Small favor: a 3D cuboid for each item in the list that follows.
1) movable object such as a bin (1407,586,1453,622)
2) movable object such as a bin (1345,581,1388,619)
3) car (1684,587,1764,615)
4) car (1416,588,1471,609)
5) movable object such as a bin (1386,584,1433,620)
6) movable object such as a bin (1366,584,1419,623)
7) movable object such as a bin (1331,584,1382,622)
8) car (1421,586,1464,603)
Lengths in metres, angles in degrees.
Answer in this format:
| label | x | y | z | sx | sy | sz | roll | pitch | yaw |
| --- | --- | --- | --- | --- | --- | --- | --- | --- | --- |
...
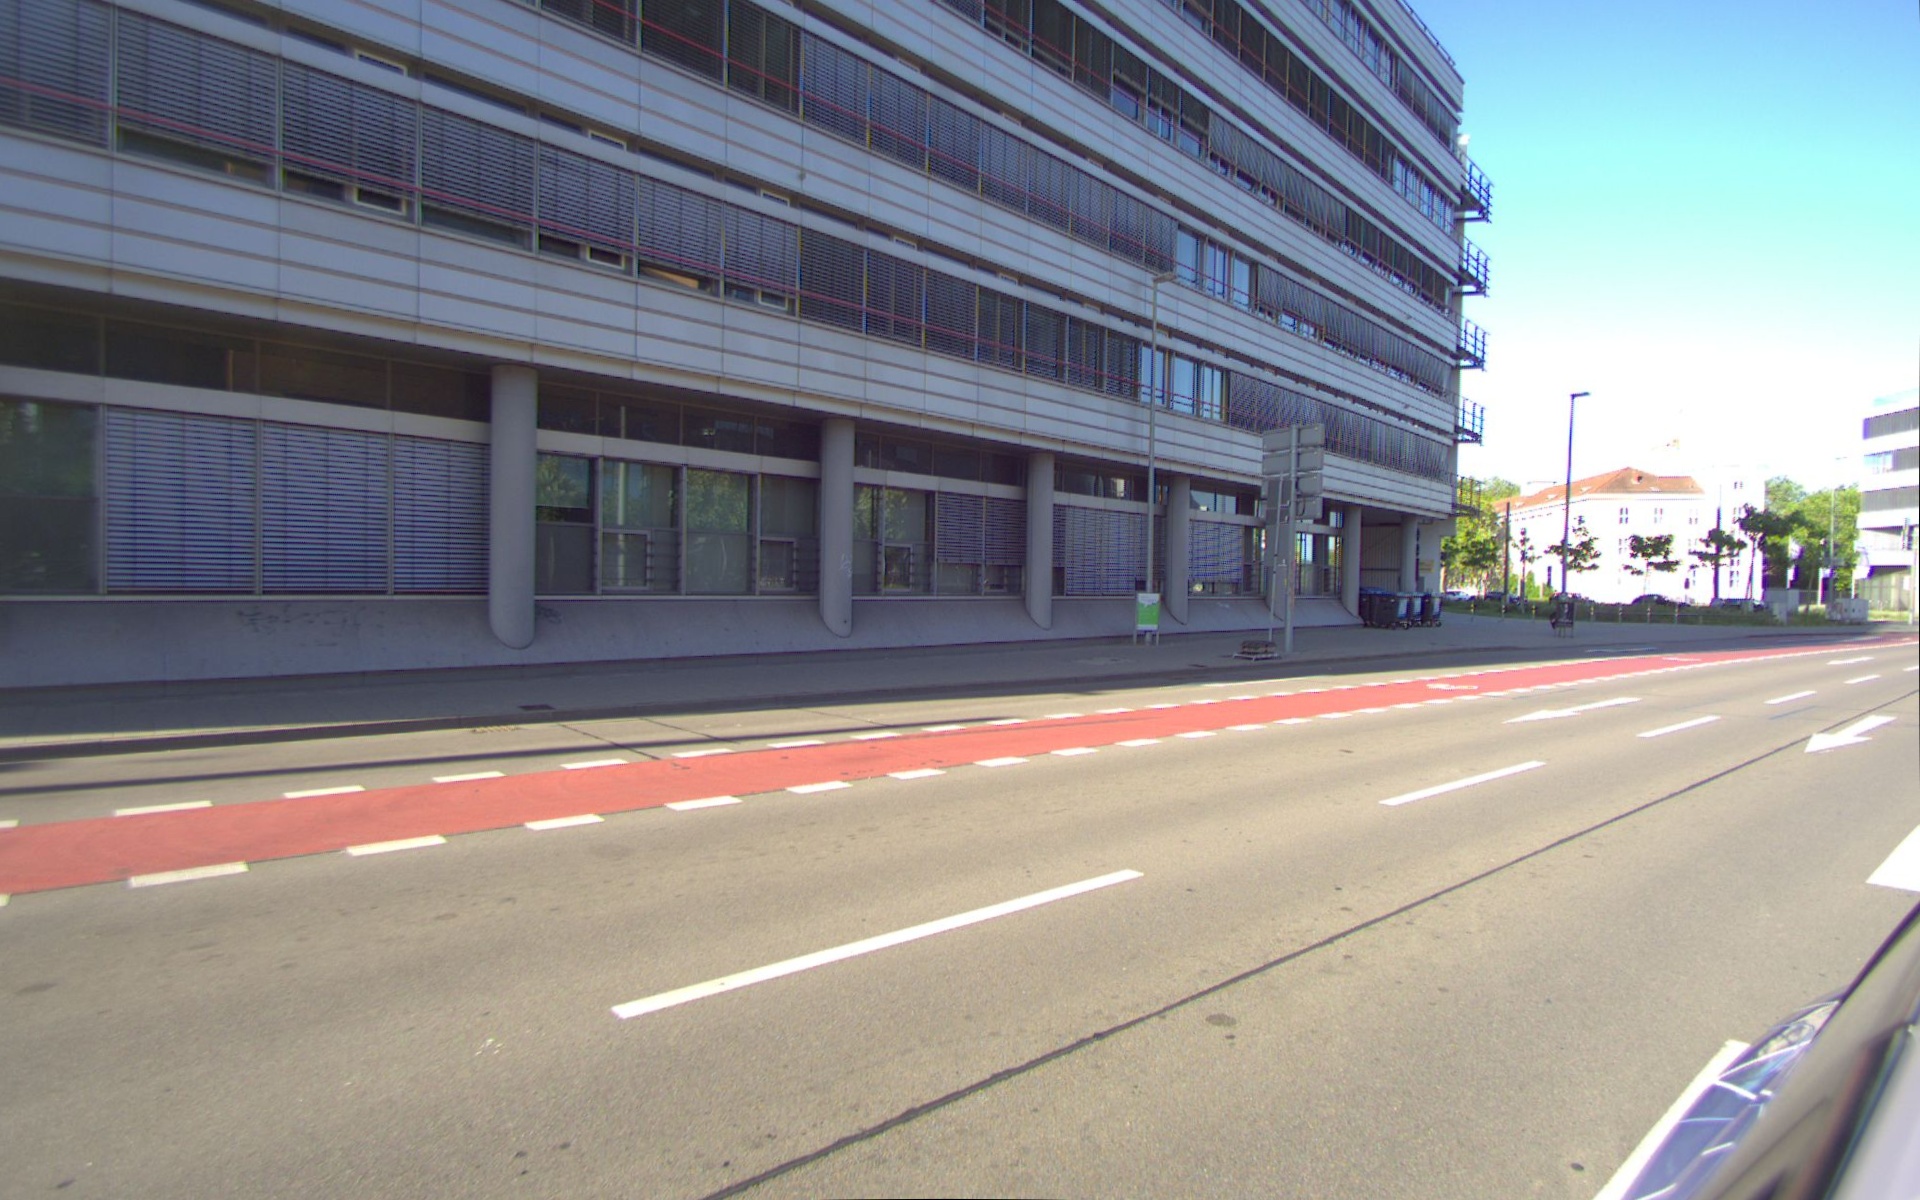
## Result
| label | x | y | z | sx | sy | sz | roll | pitch | yaw |
| --- | --- | --- | --- | --- | --- | --- | --- | --- | --- |
| movable object such as a bin | 18.233 | 0.146 | 39.295 | 1.305 | 1.317 | 1.173 | 0 | 2 | -40 |
| movable object such as a bin | 15.506 | -0.004 | 38.615 | 1.088 | 1.391 | 1.109 | 0 | 1 | -40 |
| car | 45.851 | 0.049 | 60.834 | 1.706 | 1.551 | 3.806 | 1 | 1 | -4 |
| car | 39.963 | -0.147 | 83.764 | 1.705 | 1.551 | 3.807 | 0 | 2 | -28 |
| movable object such as a bin | 17.132 | 0.075 | 38.553 | 1.305 | 1.317 | 1.173 | 0 | 2 | -40 |
| movable object such as a bin | 15.313 | 0.115 | 35.855 | 1.153 | 1.317 | 1.327 | 0 | 2 | -40 |
| movable object such as a bin | 14.459 | 0.107 | 36.919 | 1.153 | 1.317 | 1.327 | 0 | 2 | -40 |
| car | 49.285 | -0.590 | 103.302 | 3.773 | 1.551 | 1.720 | 2 | 2 | 32 |
